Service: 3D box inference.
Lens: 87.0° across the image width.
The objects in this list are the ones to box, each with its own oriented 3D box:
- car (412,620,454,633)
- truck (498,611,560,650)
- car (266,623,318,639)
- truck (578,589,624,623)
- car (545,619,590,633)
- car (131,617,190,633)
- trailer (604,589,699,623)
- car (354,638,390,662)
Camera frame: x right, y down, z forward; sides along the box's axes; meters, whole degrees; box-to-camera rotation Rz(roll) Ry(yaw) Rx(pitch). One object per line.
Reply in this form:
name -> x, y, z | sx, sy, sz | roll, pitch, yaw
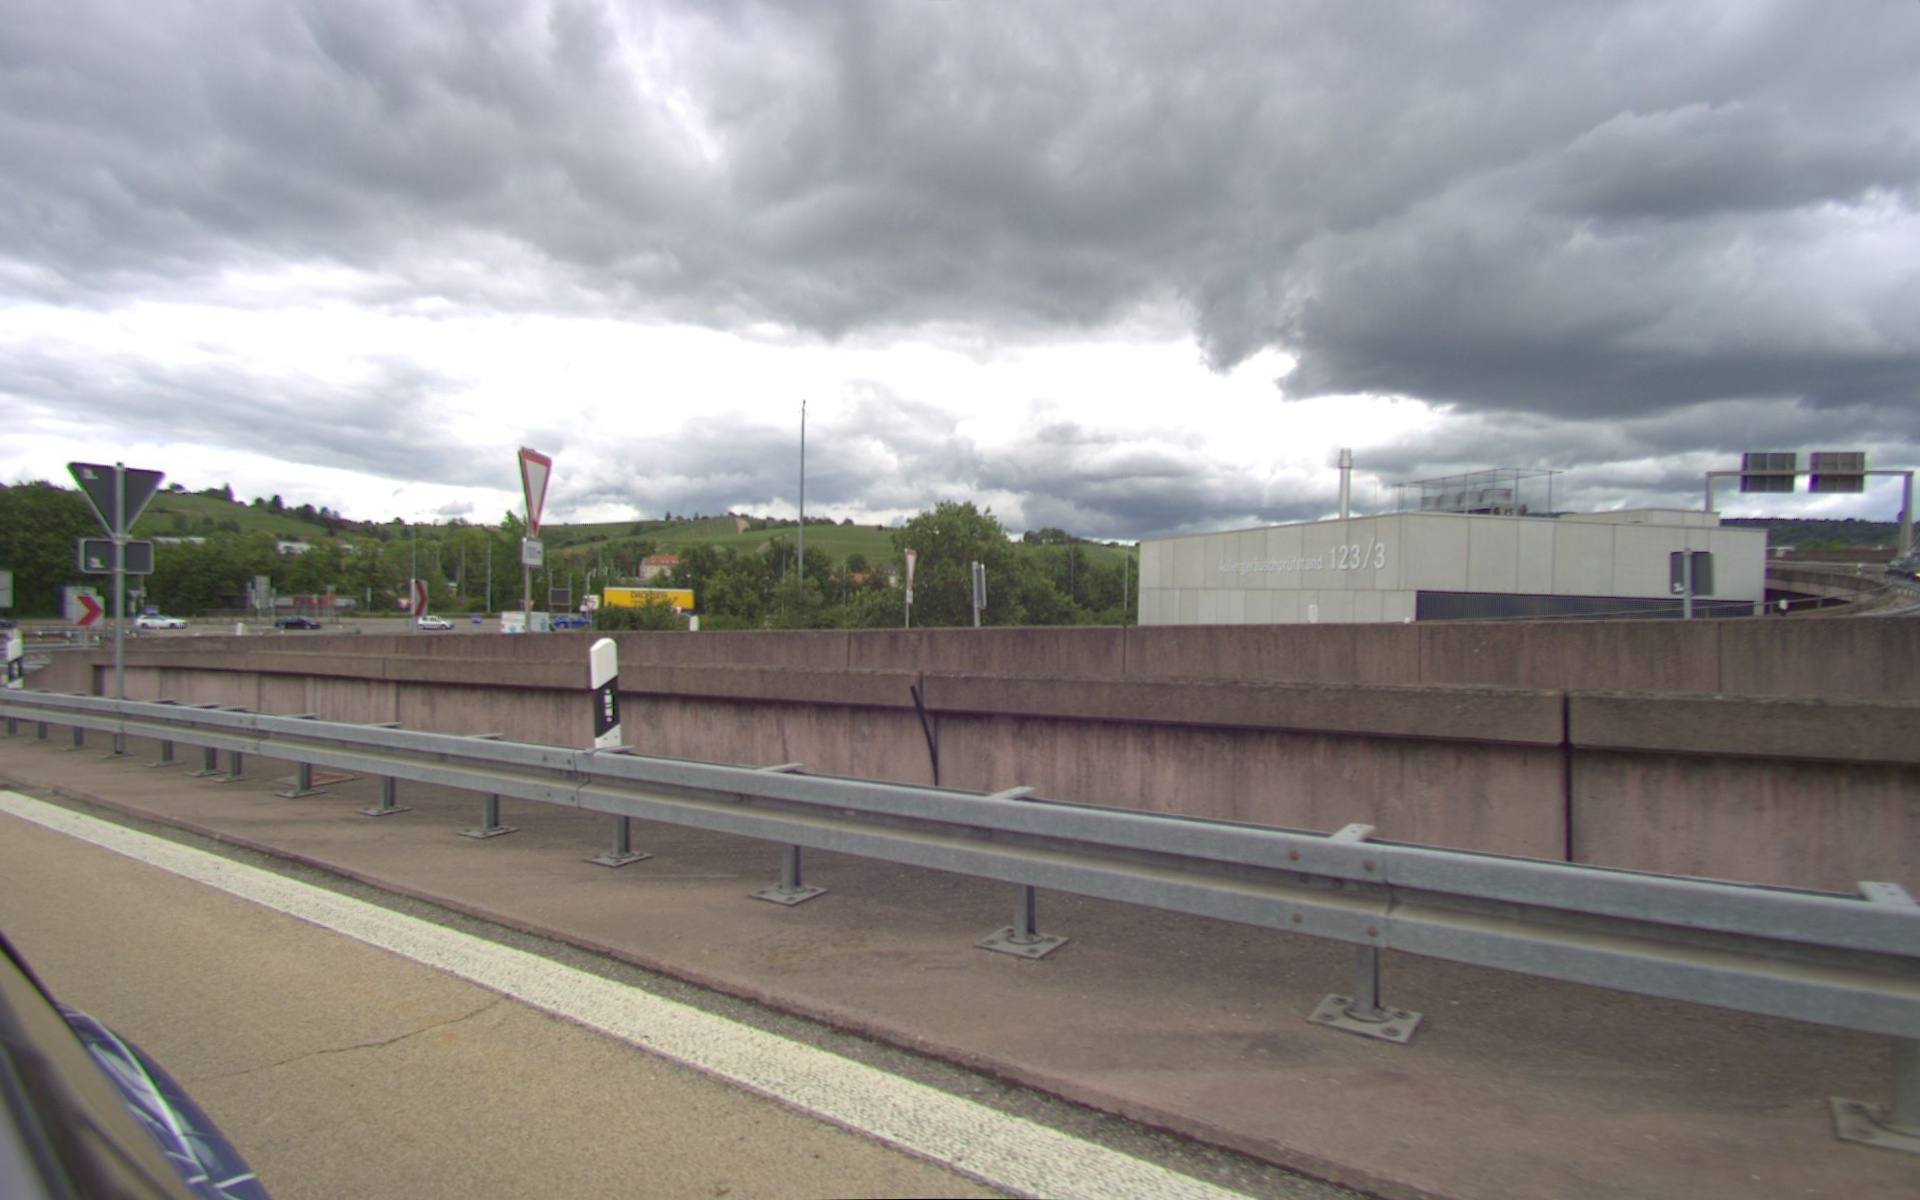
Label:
car -> -57.498, 2.889, 110.470 | 3.690, 1.384, 1.631 | 0, 2, -7
truck -> -38.347, 2.667, 90.333 | 2.321, 3.288, 6.988 | 0, -1, 3
car -> -71.820, 3.273, 108.850 | 4.226, 1.568, 1.952 | 0, 2, -9
truck -> -45.977, 0.706, 129.675 | 5.022, 4.236, 2.640 | 1, 1, -7
car -> -44.118, 2.955, 113.749 | 4.473, 1.465, 1.612 | 0, 2, -5
car -> -85.147, 2.666, 107.843 | 4.640, 1.572, 1.881 | 0, 2, -8
trailer -> -39.649, 0.801, 130.440 | 11.474, 4.236, 2.639 | 1, 1, -7
car -> -37.644, 3.209, 64.856 | 1.884, 1.425, 4.378 | 4, -4, -29
